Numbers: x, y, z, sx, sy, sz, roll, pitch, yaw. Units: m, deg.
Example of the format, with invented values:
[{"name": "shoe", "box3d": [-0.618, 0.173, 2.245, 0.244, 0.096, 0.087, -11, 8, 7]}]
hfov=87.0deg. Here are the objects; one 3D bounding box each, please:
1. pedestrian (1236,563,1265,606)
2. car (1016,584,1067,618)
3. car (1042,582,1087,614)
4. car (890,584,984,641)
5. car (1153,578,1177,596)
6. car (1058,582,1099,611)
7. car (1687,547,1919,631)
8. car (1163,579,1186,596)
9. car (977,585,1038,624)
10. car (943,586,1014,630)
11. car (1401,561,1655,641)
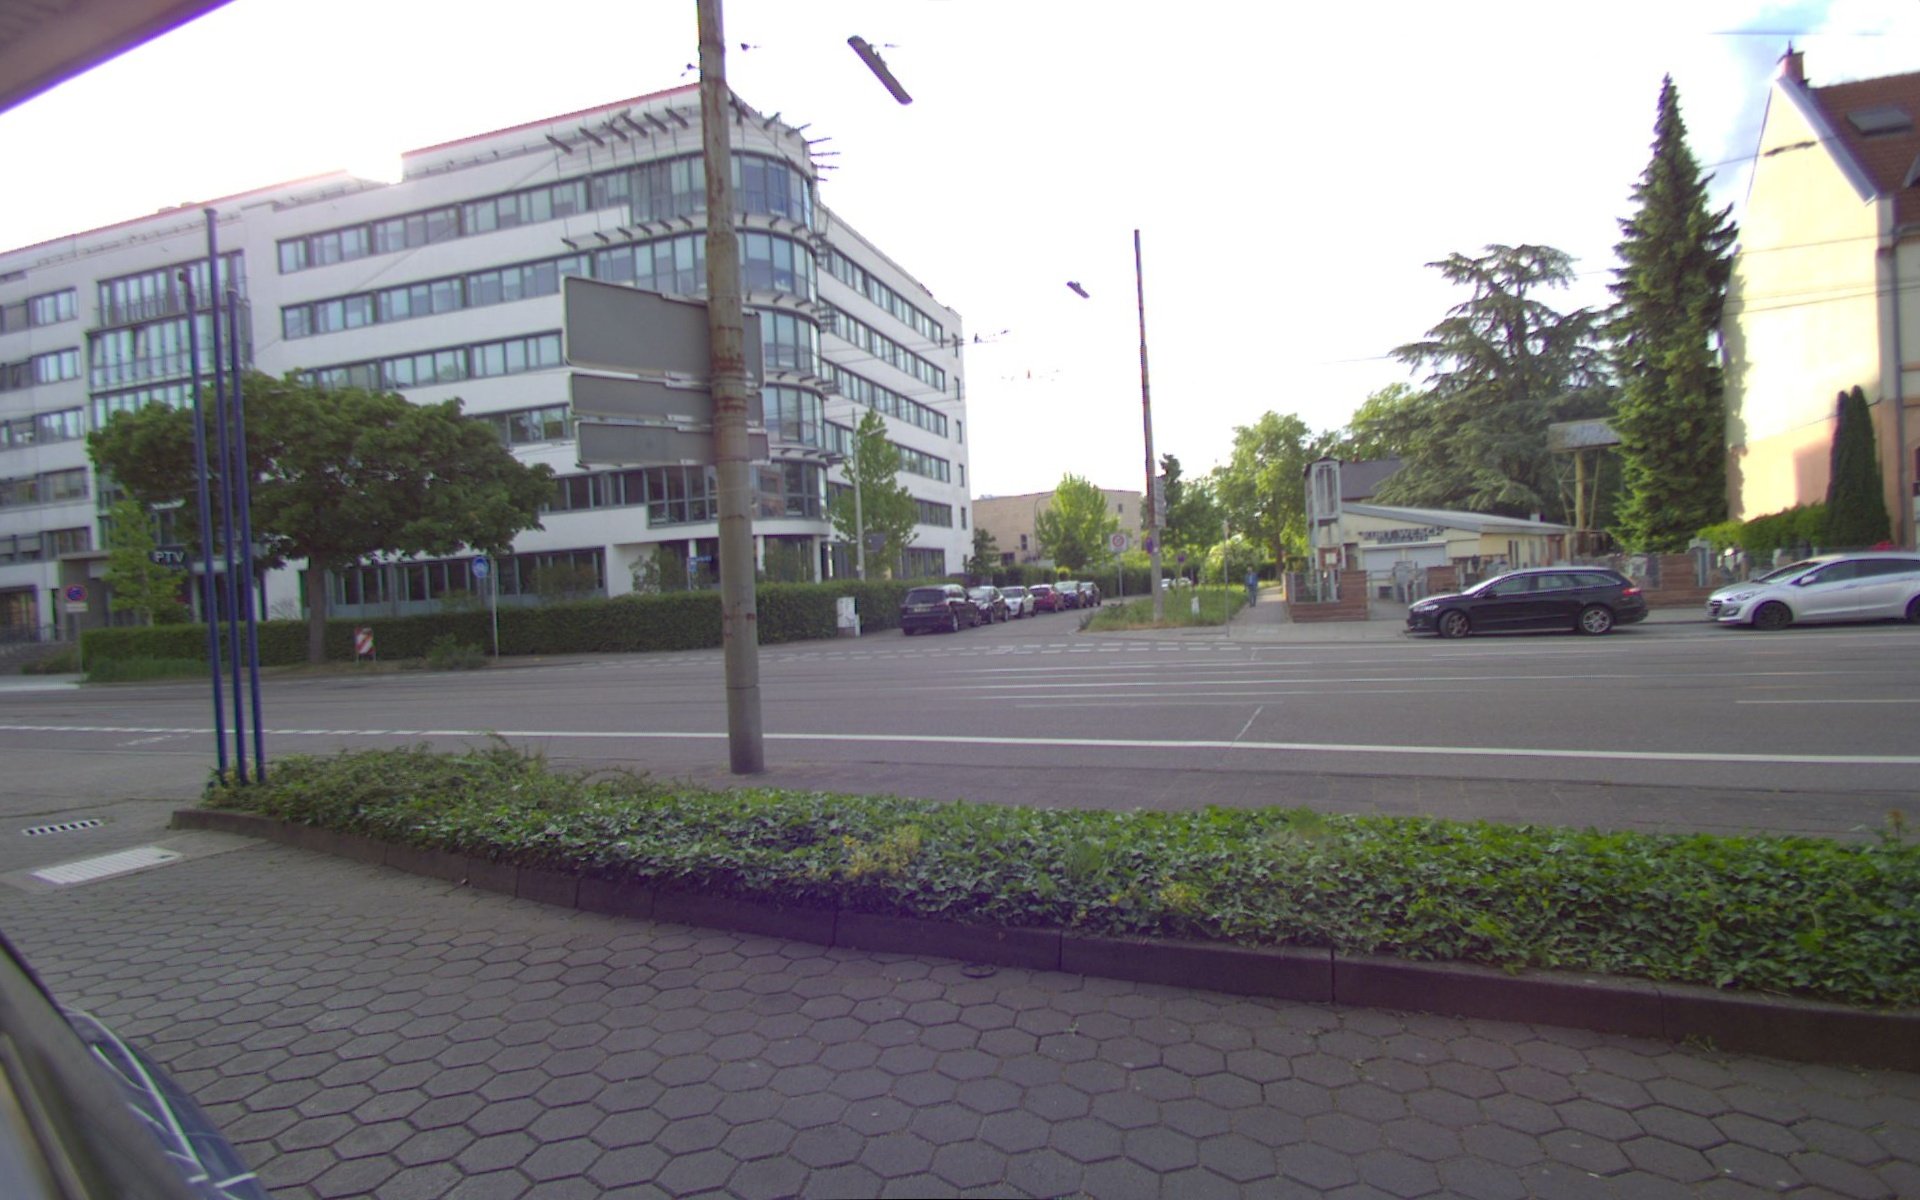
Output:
[{"name": "pedestrian", "box3d": [12.746, -0.681, 44.372, 1.086, 1.843, 0.997, -1, 0, 26]}, {"name": "car", "box3d": [4.281, 0.024, 52.362, 1.773, 1.552, 4.018, -4, 0, 17]}, {"name": "car", "box3d": [5.976, -0.135, 57.663, 1.773, 1.653, 4.064, -4, 0, 17]}, {"name": "car", "box3d": [-0.729, 0.382, 35.539, 1.962, 1.625, 4.411, -4, 2, 17]}, {"name": "car", "box3d": [20.423, -1.269, 100.615, 1.774, 1.653, 4.060, -4, 0, 19]}, {"name": "car", "box3d": [7.367, -0.232, 62.674, 1.773, 1.653, 4.064, -4, 0, 17]}, {"name": "car", "box3d": [18.484, -0.256, 21.500, 4.459, 1.486, 1.986, -4, 0, 22]}, {"name": "car", "box3d": [22.563, -1.298, 106.312, 1.774, 1.653, 4.060, -4, 0, 19]}, {"name": "car", "box3d": [2.200, 0.177, 45.758, 1.773, 1.565, 4.083, -4, 0, 17]}, {"name": "car", "box3d": [0.791, 0.290, 40.896, 1.773, 1.565, 4.083, -4, 0, 17]}, {"name": "car", "box3d": [12.908, 0.045, 23.417, 4.791, 1.507, 1.986, -3, 0, 22]}]
